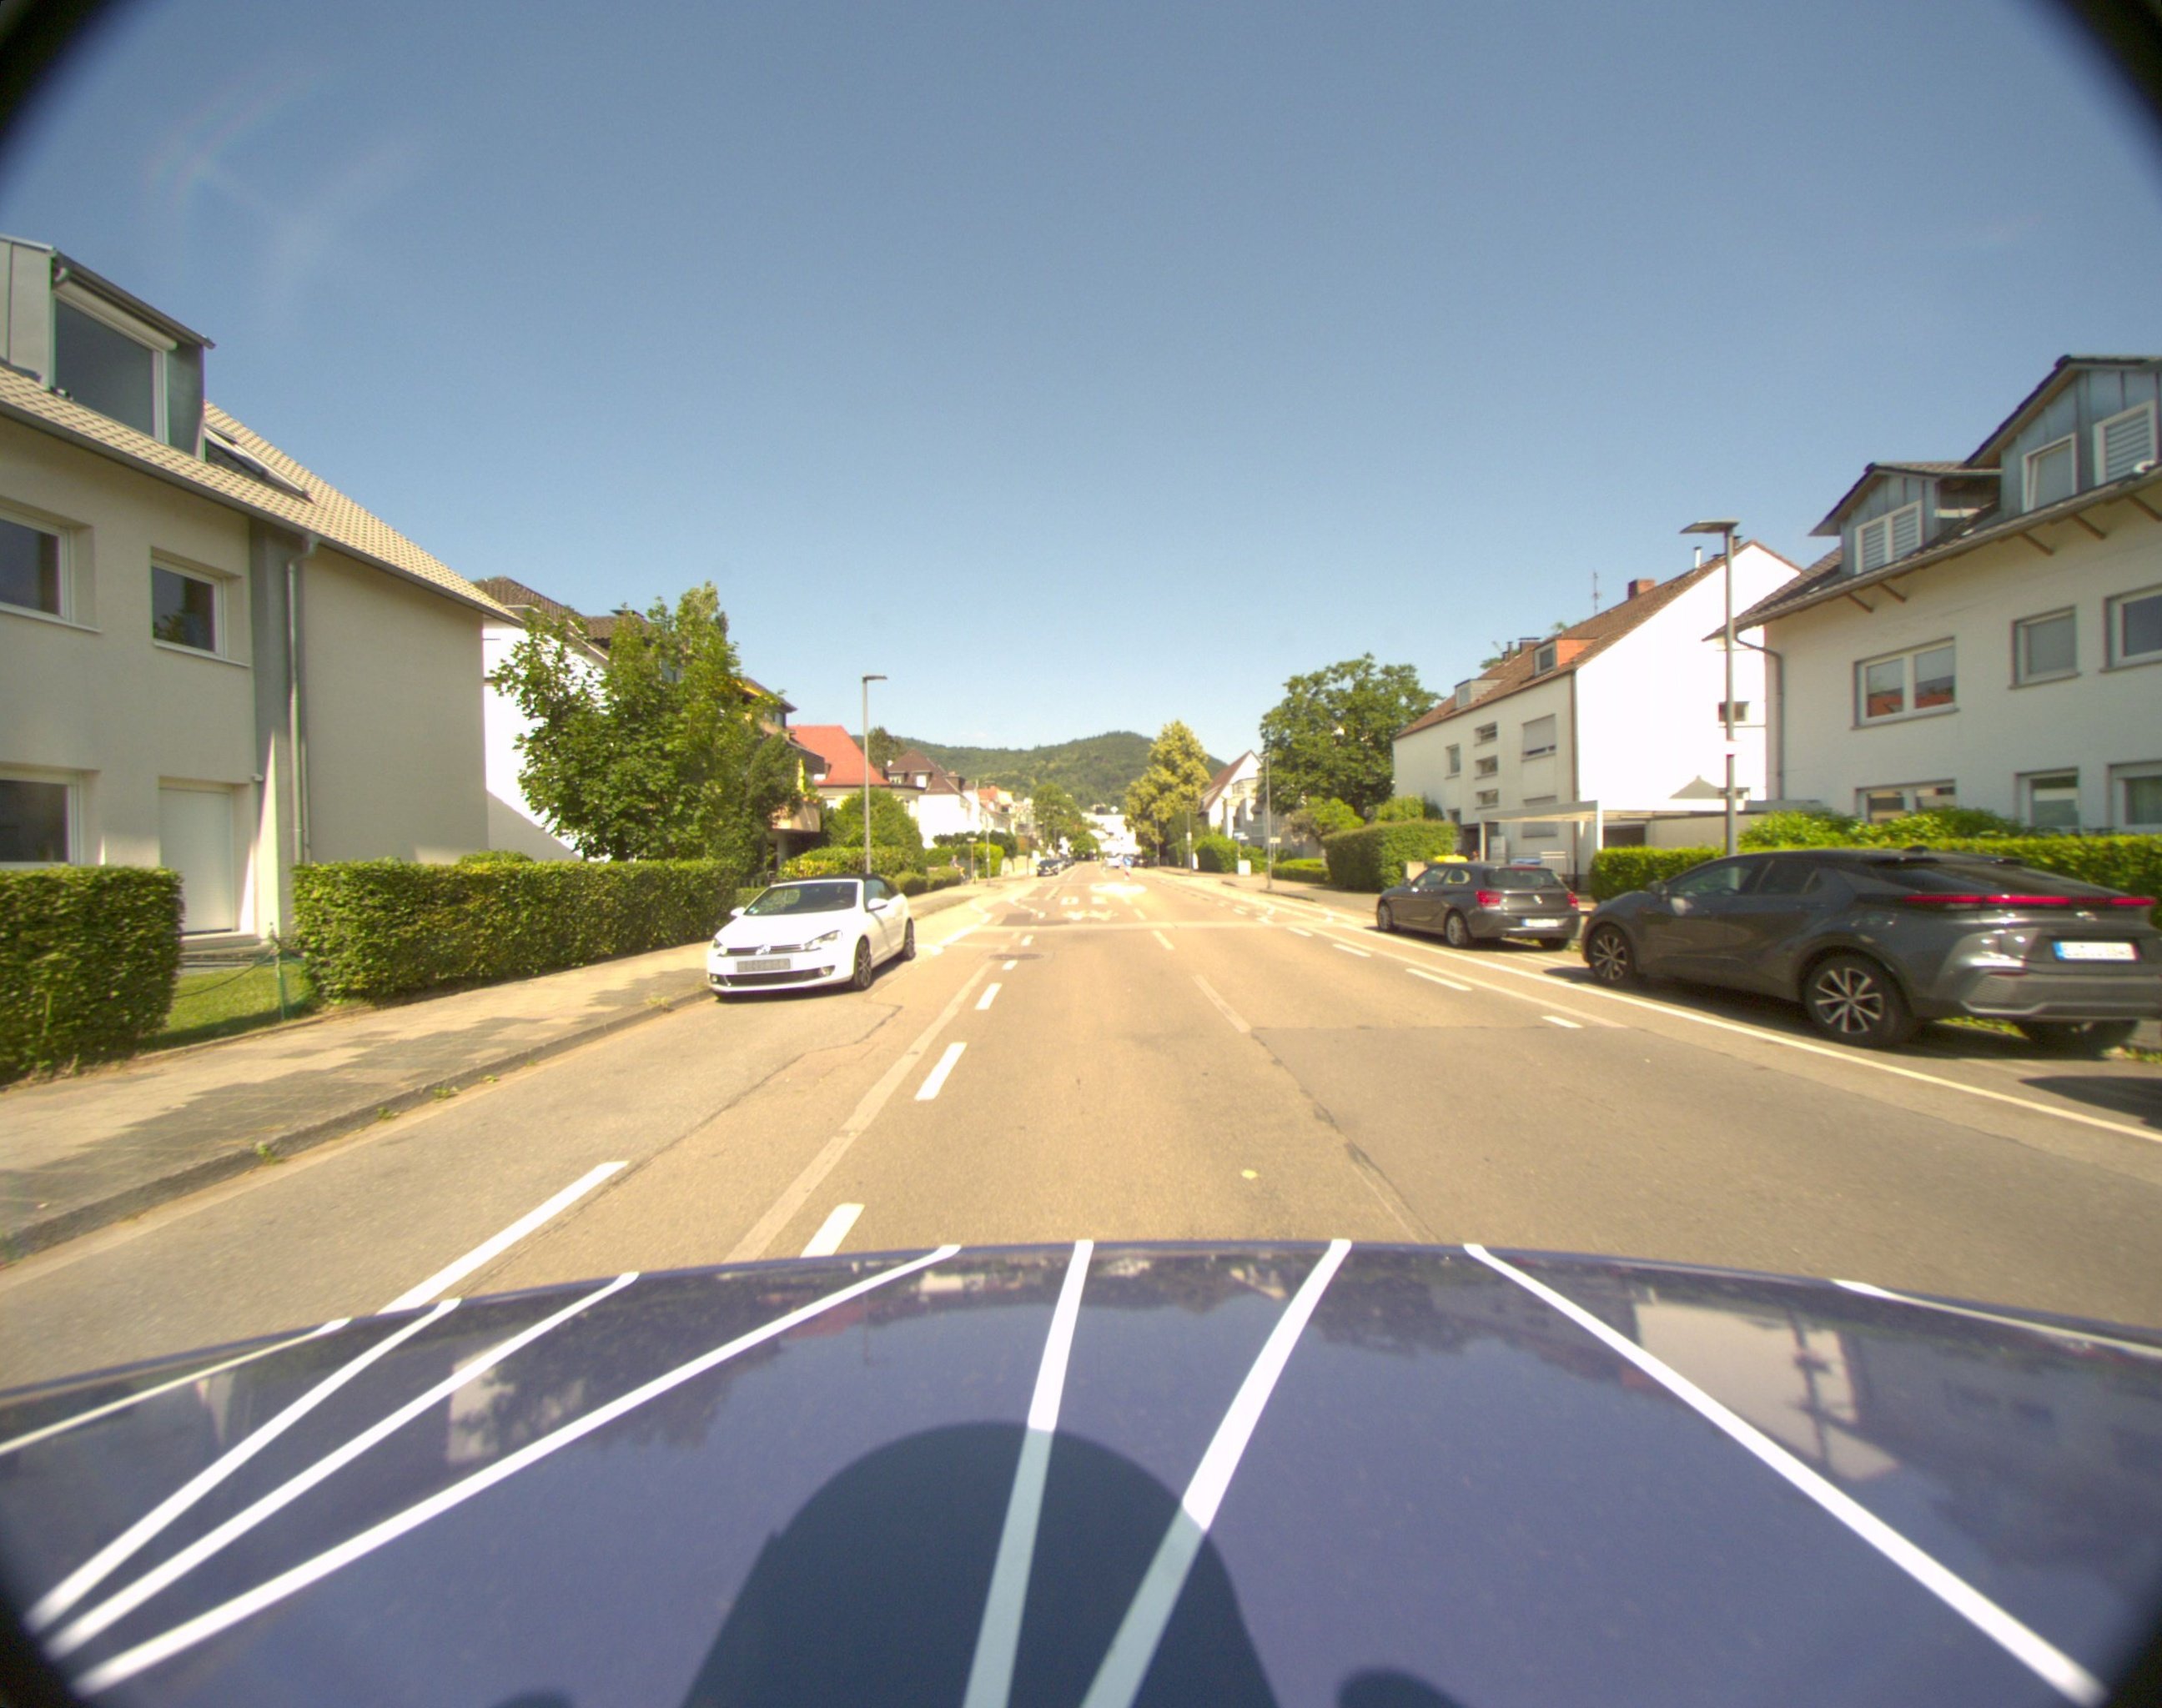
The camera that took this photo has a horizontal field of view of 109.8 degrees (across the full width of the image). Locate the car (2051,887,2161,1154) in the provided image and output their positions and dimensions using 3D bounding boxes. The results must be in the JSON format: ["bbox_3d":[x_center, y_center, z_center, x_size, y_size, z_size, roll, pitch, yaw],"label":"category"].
[{"bbox_3d":[6.766,0.936,2.603,1.789,1.432,4.000,0,0,1],"label":"car"}]

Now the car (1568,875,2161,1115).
[{"bbox_3d":[6.710,0.982,7.030,1.790,1.431,4.110,-1,0,0],"label":"car"}]

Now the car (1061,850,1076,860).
[{"bbox_3d":[-1.773,0.211,112.723,1.622,1.440,4.002,-1,0,8],"label":"car"}]

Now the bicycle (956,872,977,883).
[{"bbox_3d":[-6.794,1.415,45.107,1.152,0.596,0.402,-2,1,-20],"label":"bicycle"}]

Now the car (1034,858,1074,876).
[{"bbox_3d":[-2.255,1.083,65.042,1.738,1.460,4.352,-1,0,22],"label":"car"}]

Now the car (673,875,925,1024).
[{"bbox_3d":[-3.465,1.085,10.232,1.744,1.394,4.073,-3,0,1],"label":"car"}]

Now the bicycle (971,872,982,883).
[{"bbox_3d":[-6.368,1.426,46.448,0.403,0.596,1.171,-2,1,-20],"label":"bicycle"}]

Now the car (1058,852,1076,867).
[{"bbox_3d":[-1.545,0.609,84.226,1.741,1.321,4.075,-4,2,1],"label":"car"}]

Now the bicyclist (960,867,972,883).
[{"bbox_3d":[-6.839,1.243,45.087,0.609,0.928,0.399,-2,1,-21],"label":"bicyclist"}]

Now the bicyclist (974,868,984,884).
[{"bbox_3d":[-6.247,1.365,46.598,0.403,0.924,0.656,-2,1,-21],"label":"bicyclist"}]

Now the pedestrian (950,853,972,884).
[{"bbox_3d":[-7.495,0.906,47.513,0.903,1.862,1.186,-3,2,-32],"label":"pedestrian"}]

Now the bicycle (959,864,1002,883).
[{"bbox_3d":[-6.270,1.234,47.310,2.704,1.152,0.865,-1,1,33],"label":"bicycle"}]

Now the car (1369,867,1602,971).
[{"bbox_3d":[6.756,0.991,13.291,1.790,1.431,4.154,0,0,-2],"label":"car"}]

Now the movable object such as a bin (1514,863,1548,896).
[{"bbox_3d":[15.536,0.857,26.239,0.702,1.085,0.707,-2,1,-3],"label":"movable object such as a bin"}]

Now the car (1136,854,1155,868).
[{"bbox_3d":[8.027,0.899,94.460,1.856,1.601,4.447,-2,1,-1],"label":"car"}]

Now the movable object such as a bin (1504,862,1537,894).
[{"bbox_3d":[15.511,0.850,26.835,0.702,1.085,0.707,-2,1,-3],"label":"movable object such as a bin"}]

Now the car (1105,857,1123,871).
[{"bbox_3d":[4.001,1.216,92.766,1.920,1.657,4.505,0,1,0],"label":"car"}]

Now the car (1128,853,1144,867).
[{"bbox_3d":[7.810,0.871,107.643,1.889,1.908,4.868,1,0,0],"label":"car"}]

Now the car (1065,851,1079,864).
[{"bbox_3d":[-1.146,0.420,96.543,1.726,1.441,4.167,-5,1,-1],"label":"car"}]
